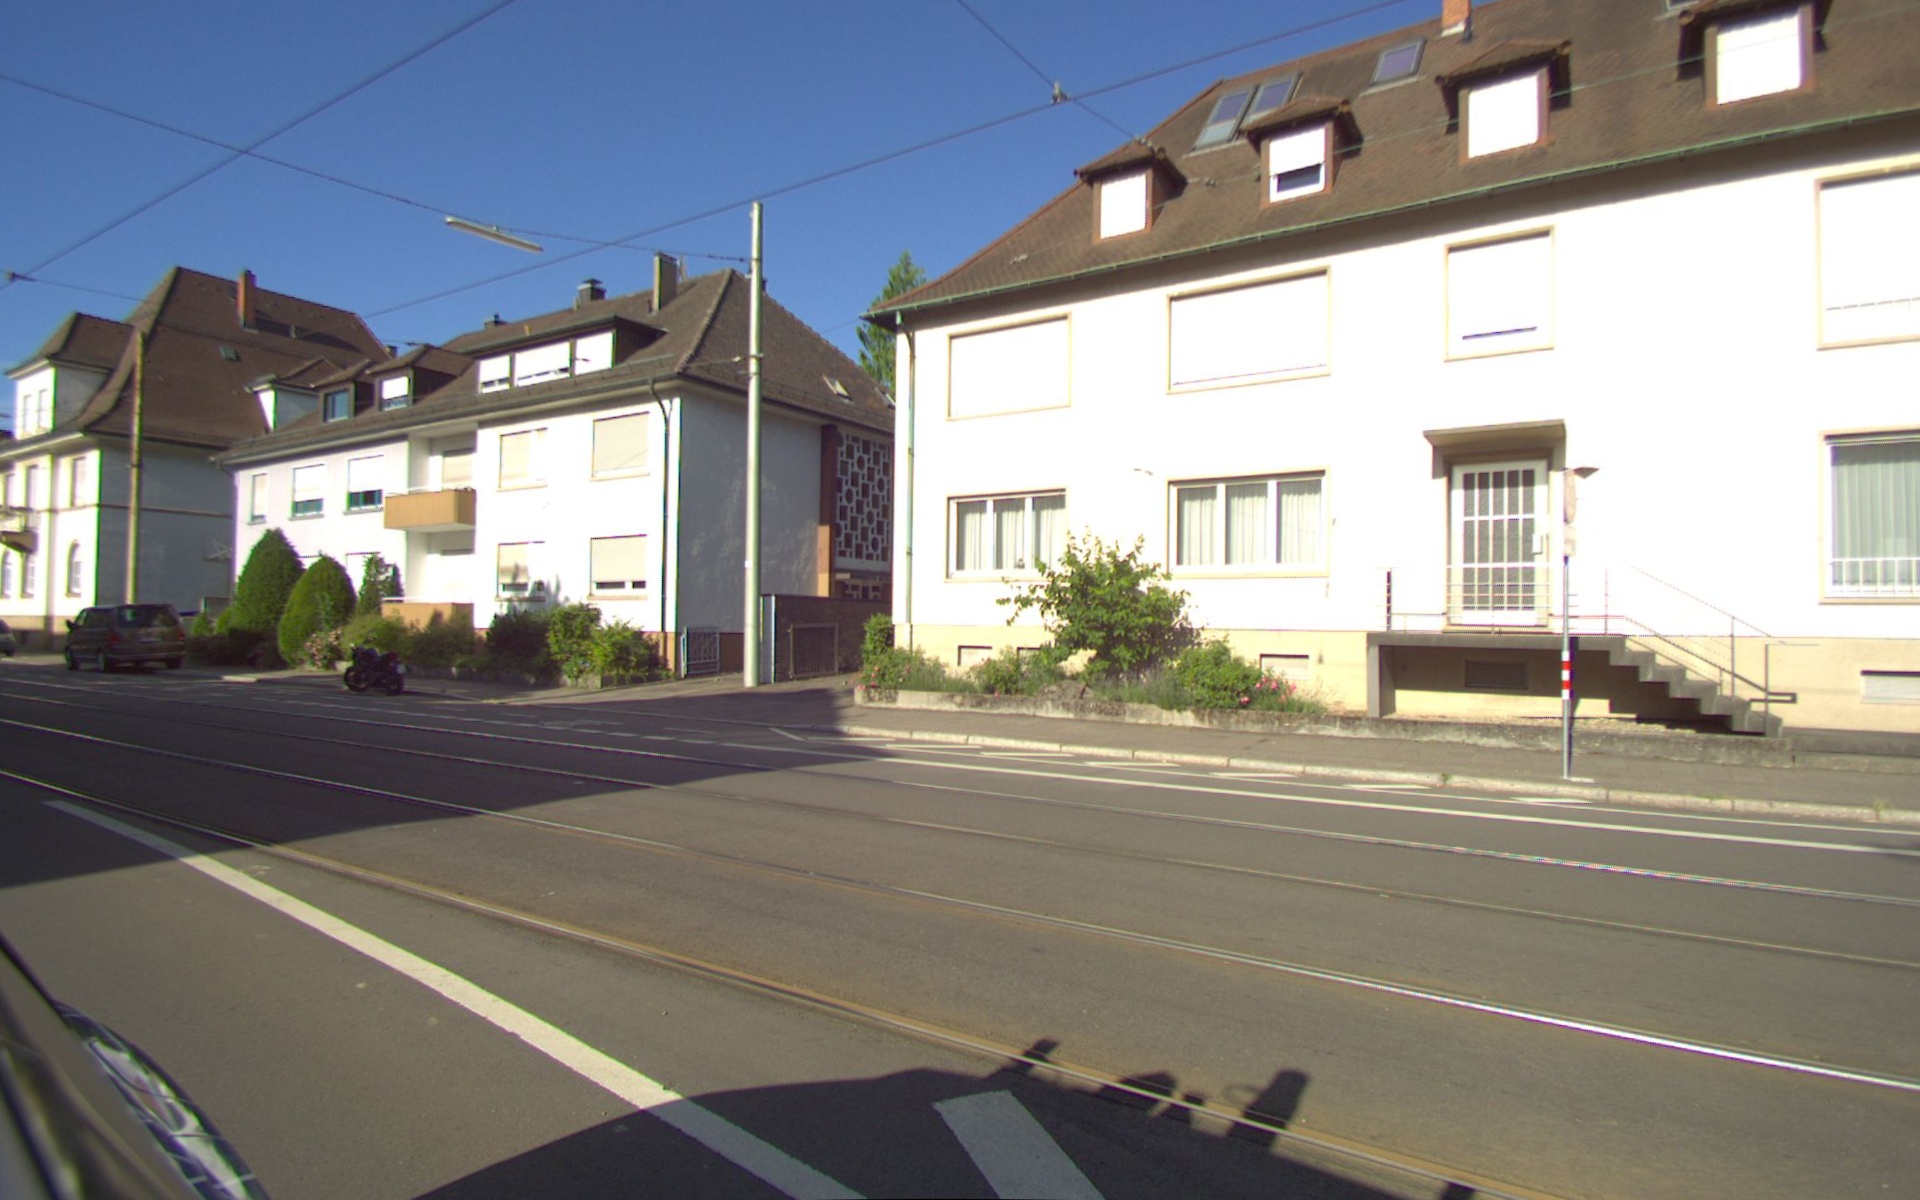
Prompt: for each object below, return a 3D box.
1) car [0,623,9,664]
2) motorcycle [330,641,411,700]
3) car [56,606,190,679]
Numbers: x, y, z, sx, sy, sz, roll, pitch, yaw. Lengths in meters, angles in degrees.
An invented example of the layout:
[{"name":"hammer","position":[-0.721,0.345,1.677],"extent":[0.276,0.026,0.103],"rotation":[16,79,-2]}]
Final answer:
[{"name":"car","position":[-37.227,1.619,37.777],"extent":[3.824,1.488,1.663],"rotation":[-1,-1,33]},{"name":"motorcycle","position":[-12.492,1.469,21.420],"extent":[2.166,1.171,0.532],"rotation":[-1,-4,34]},{"name":"car","position":[-24.969,1.205,30.136],"extent":[4.938,2.029,1.889],"rotation":[-1,-1,35]}]
